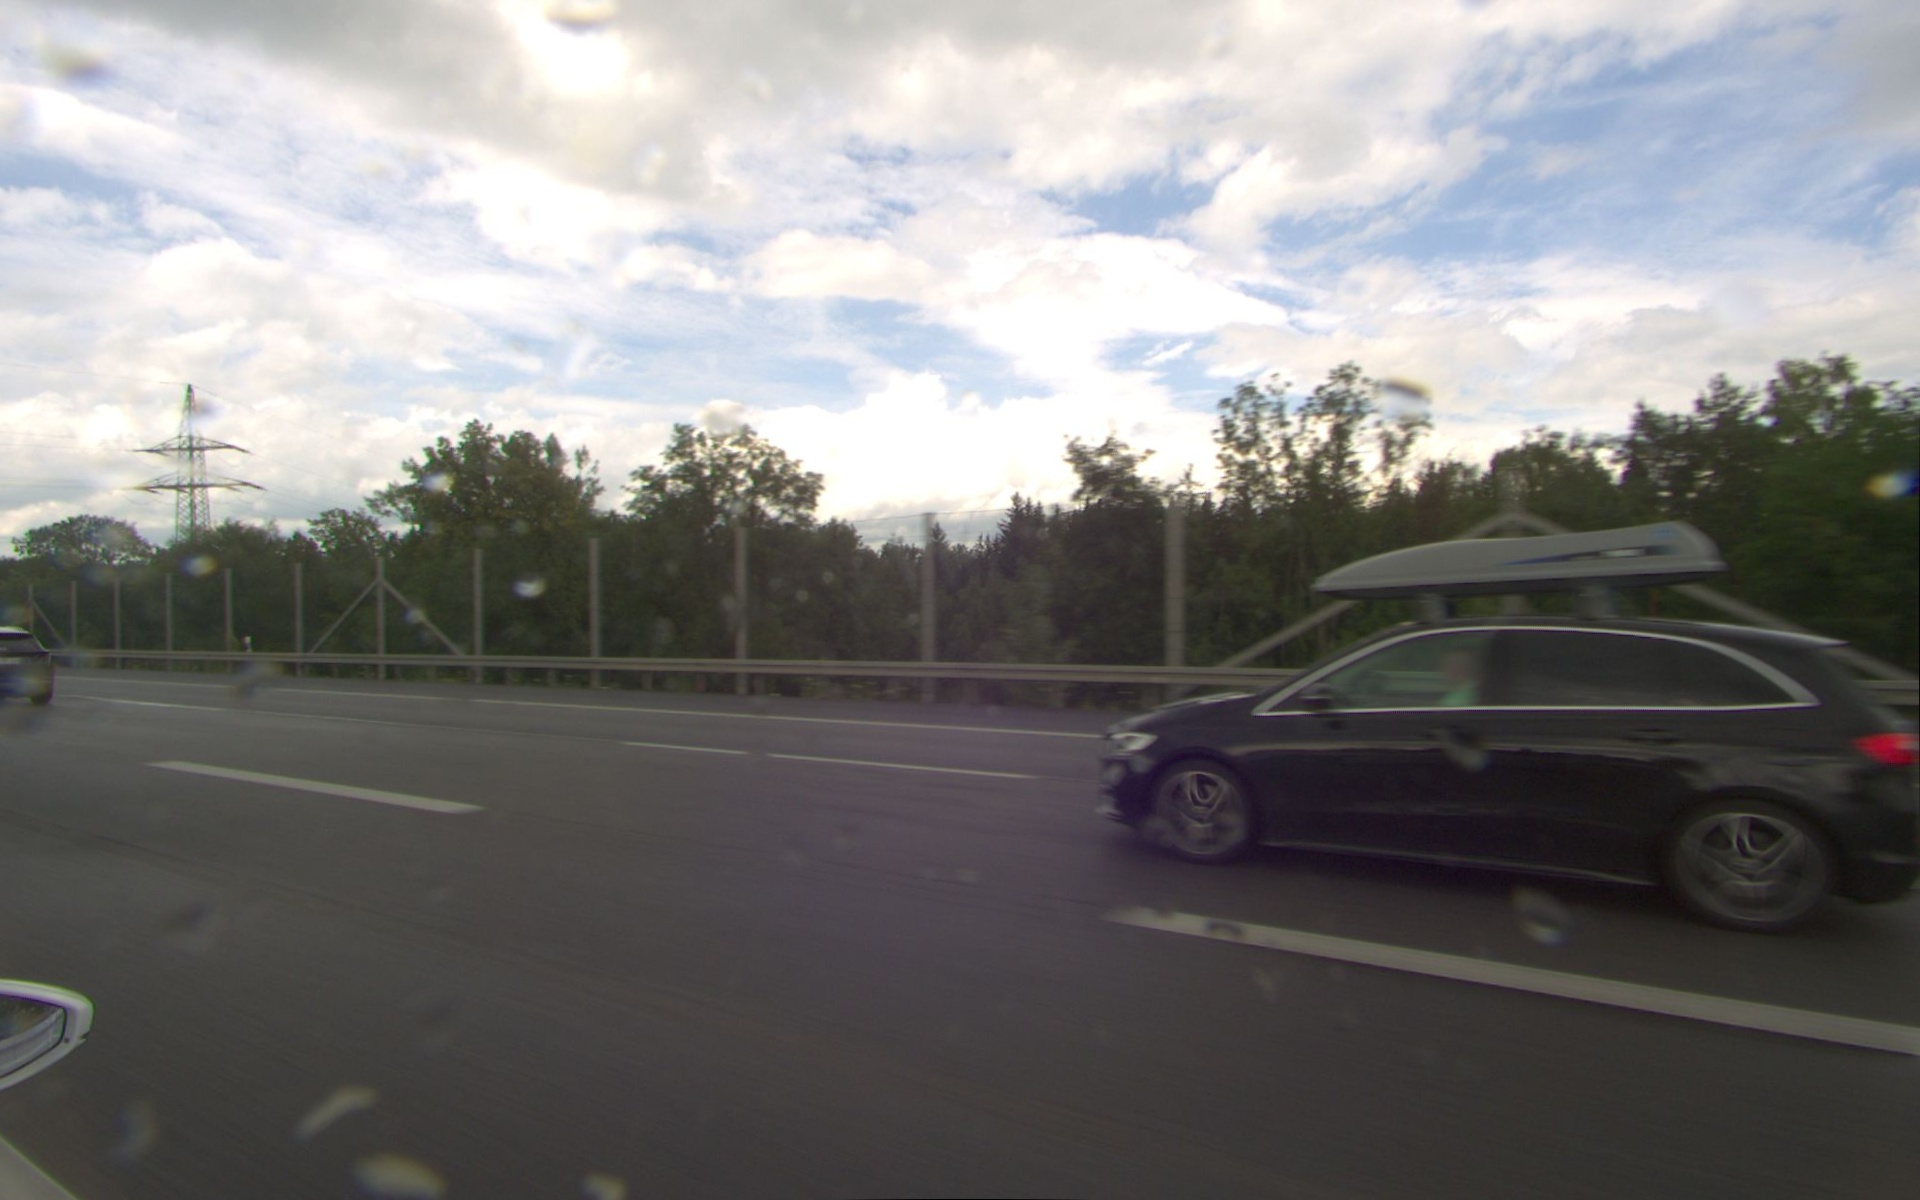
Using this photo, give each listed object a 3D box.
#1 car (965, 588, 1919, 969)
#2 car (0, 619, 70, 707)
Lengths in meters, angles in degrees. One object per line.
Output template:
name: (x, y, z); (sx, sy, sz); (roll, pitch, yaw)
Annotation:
car: (2.698, 0.799, 6.386); (4.992, 1.626, 2.101); (-1, -1, 32)
car: (-20.920, 1.258, 20.978); (4.933, 1.721, 2.043); (-1, -2, 31)
